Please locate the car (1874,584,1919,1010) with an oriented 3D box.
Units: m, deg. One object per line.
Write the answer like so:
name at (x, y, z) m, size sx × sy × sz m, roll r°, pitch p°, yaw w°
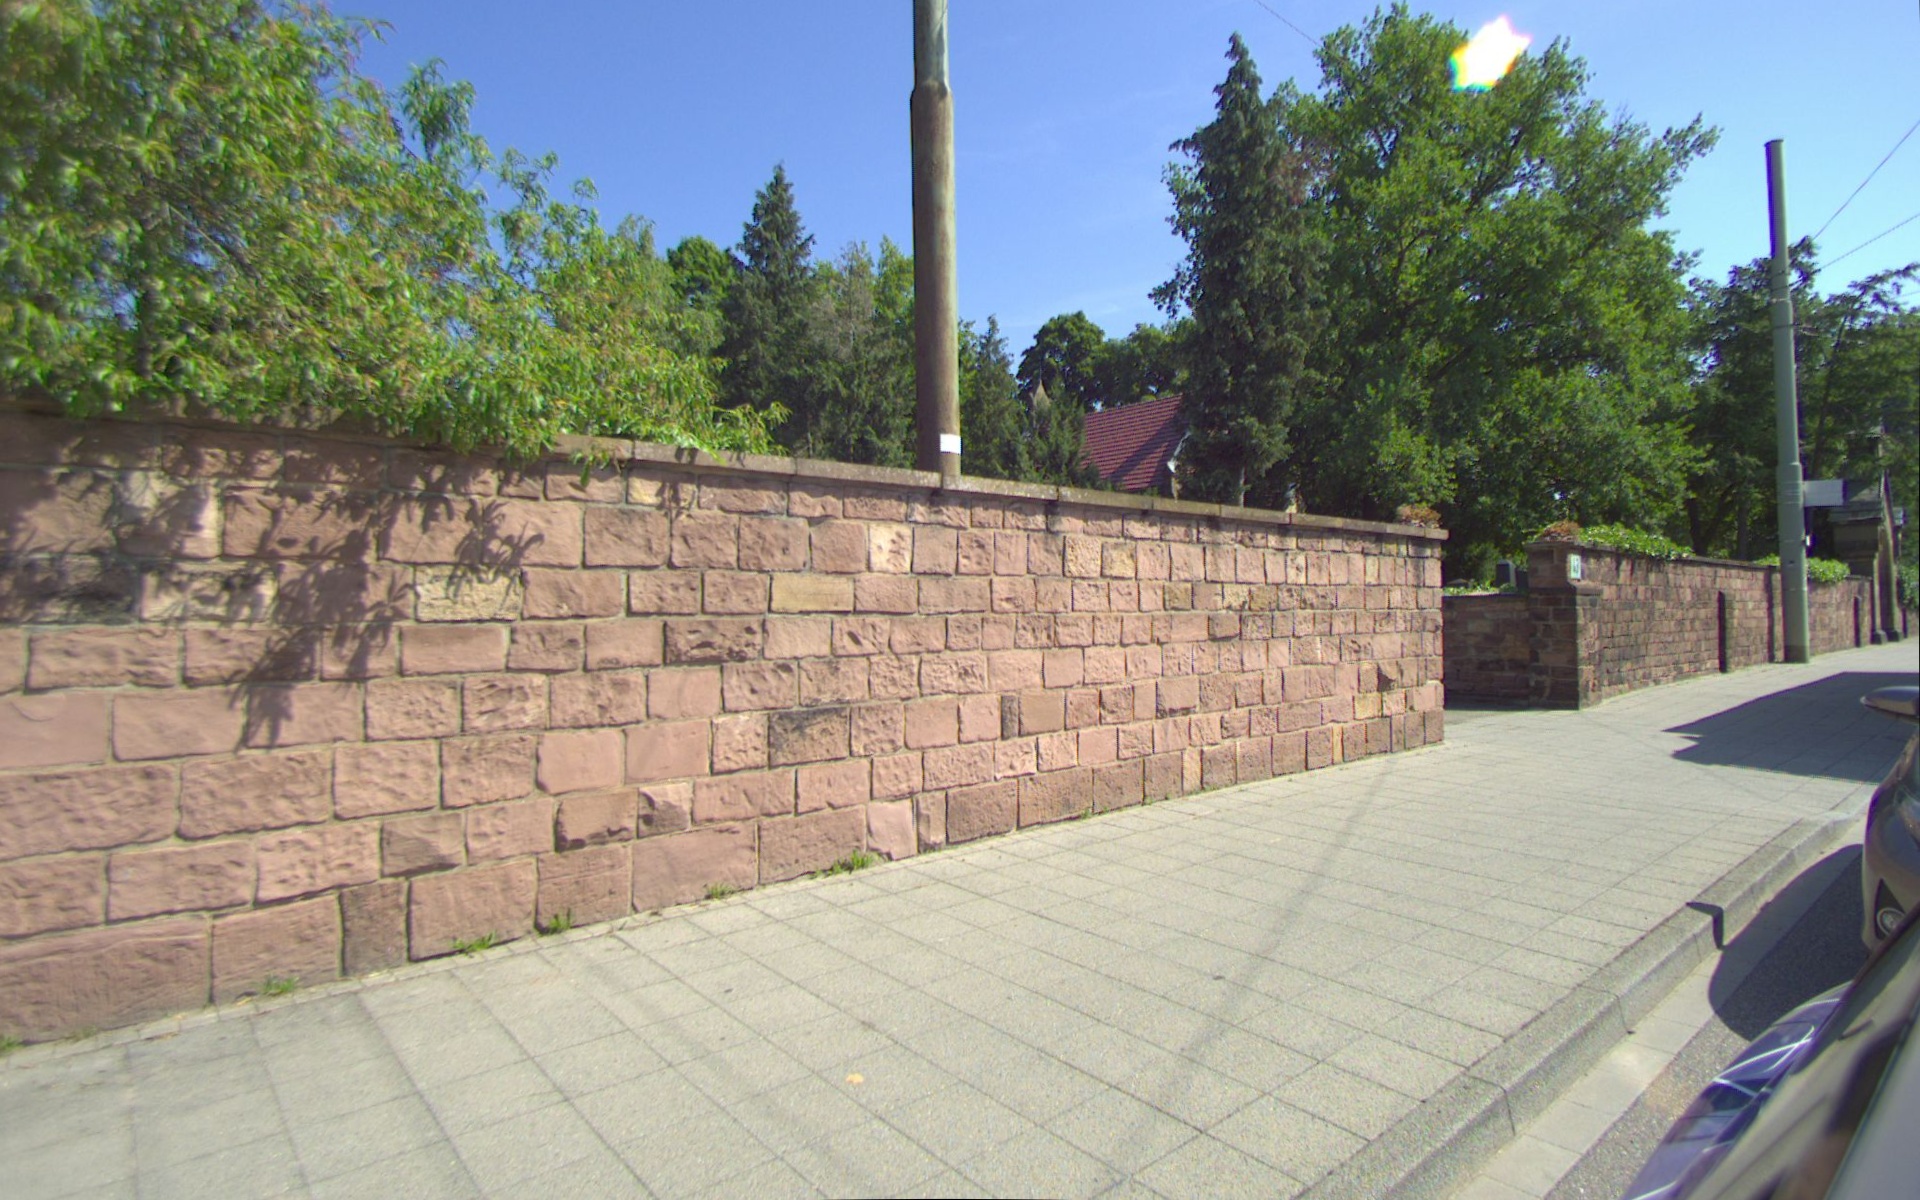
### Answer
car at (5.096, 0.644, 4.081) m, size 3.930 × 1.400 × 1.653 m, roll 0°, pitch 1°, yaw -41°
